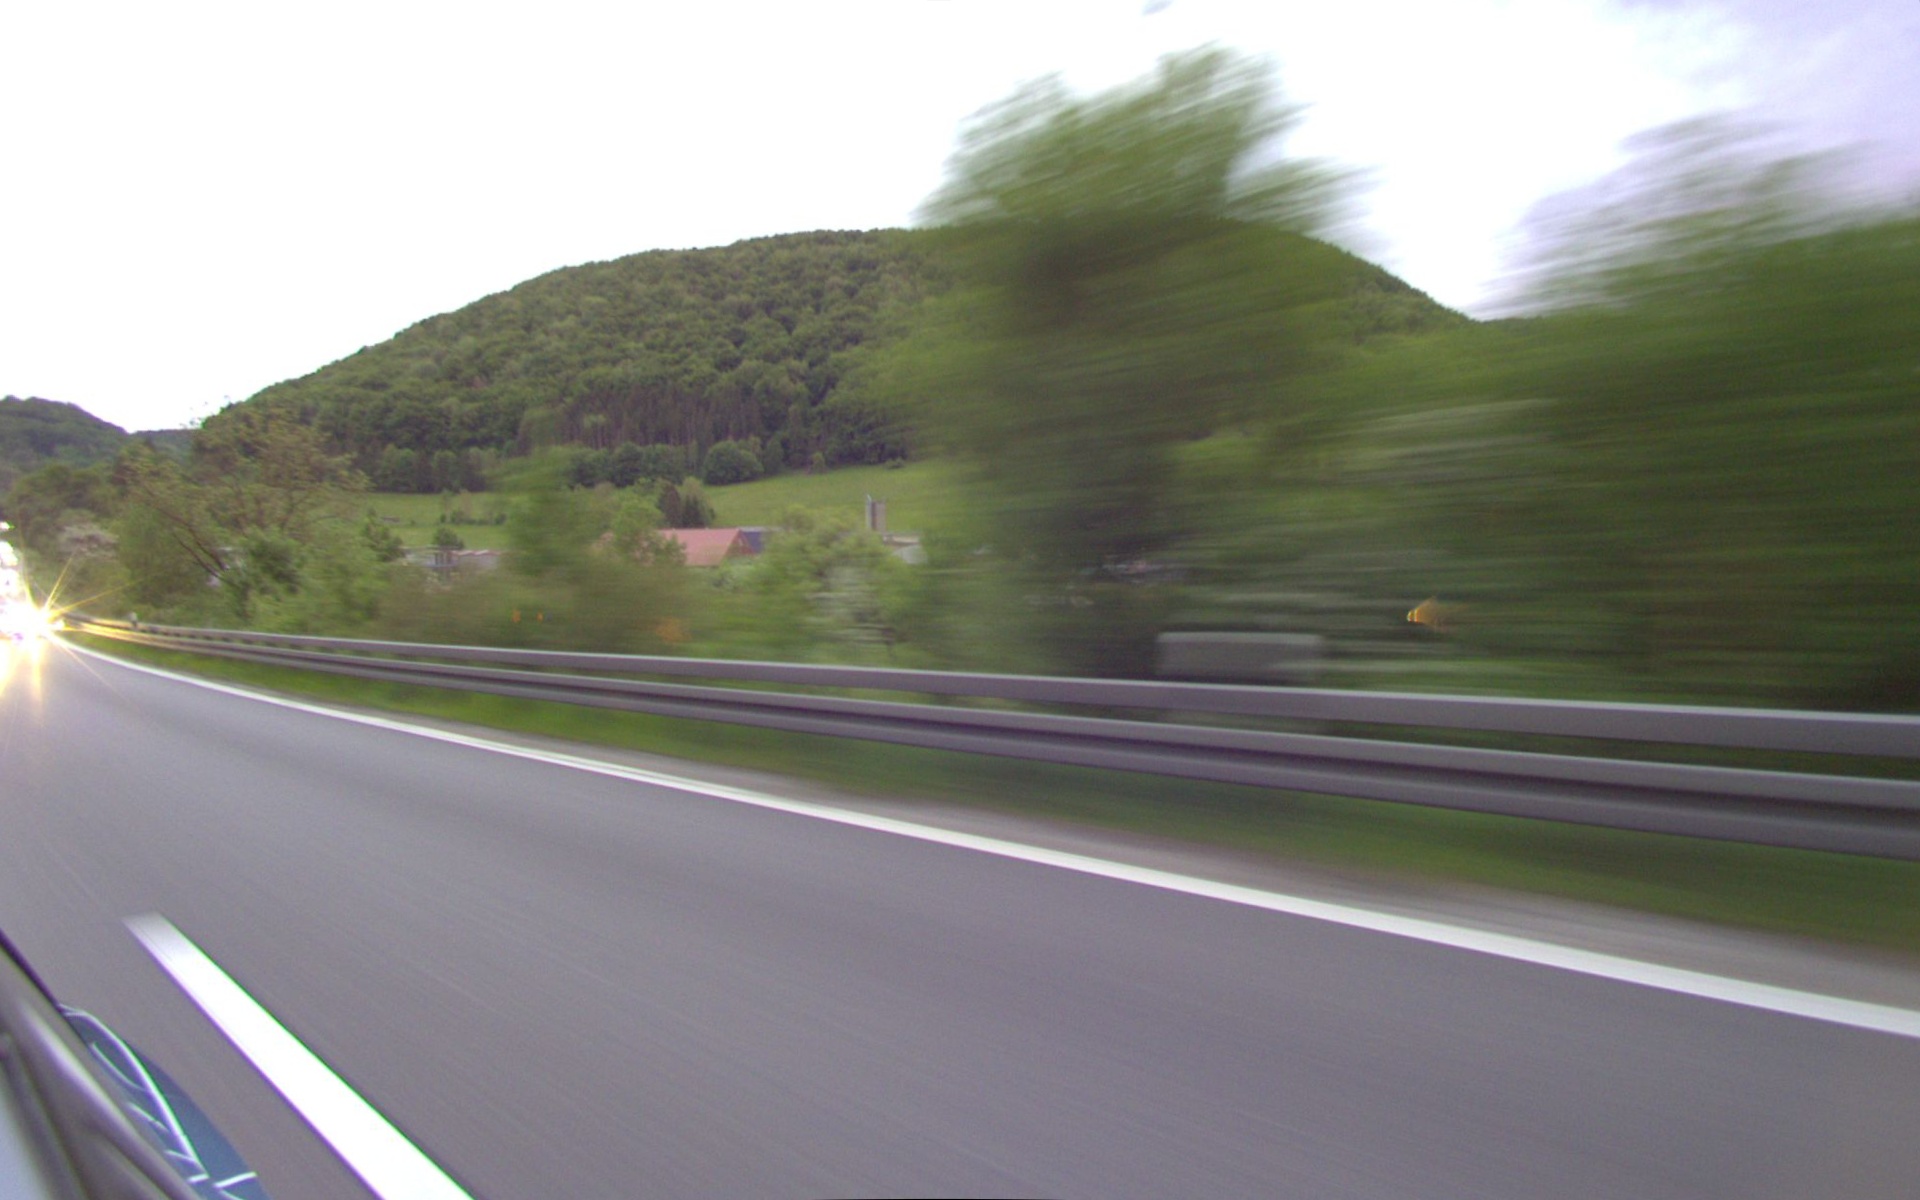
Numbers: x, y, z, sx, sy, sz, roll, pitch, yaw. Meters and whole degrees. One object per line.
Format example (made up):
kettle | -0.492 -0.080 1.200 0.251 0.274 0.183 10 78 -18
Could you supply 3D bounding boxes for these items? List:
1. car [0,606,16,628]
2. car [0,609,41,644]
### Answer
car | -64.392 1.155 67.656 3.669 1.444 1.667 -2 0 44
car | -42.183 1.170 44.970 3.768 1.479 1.667 -2 0 43
